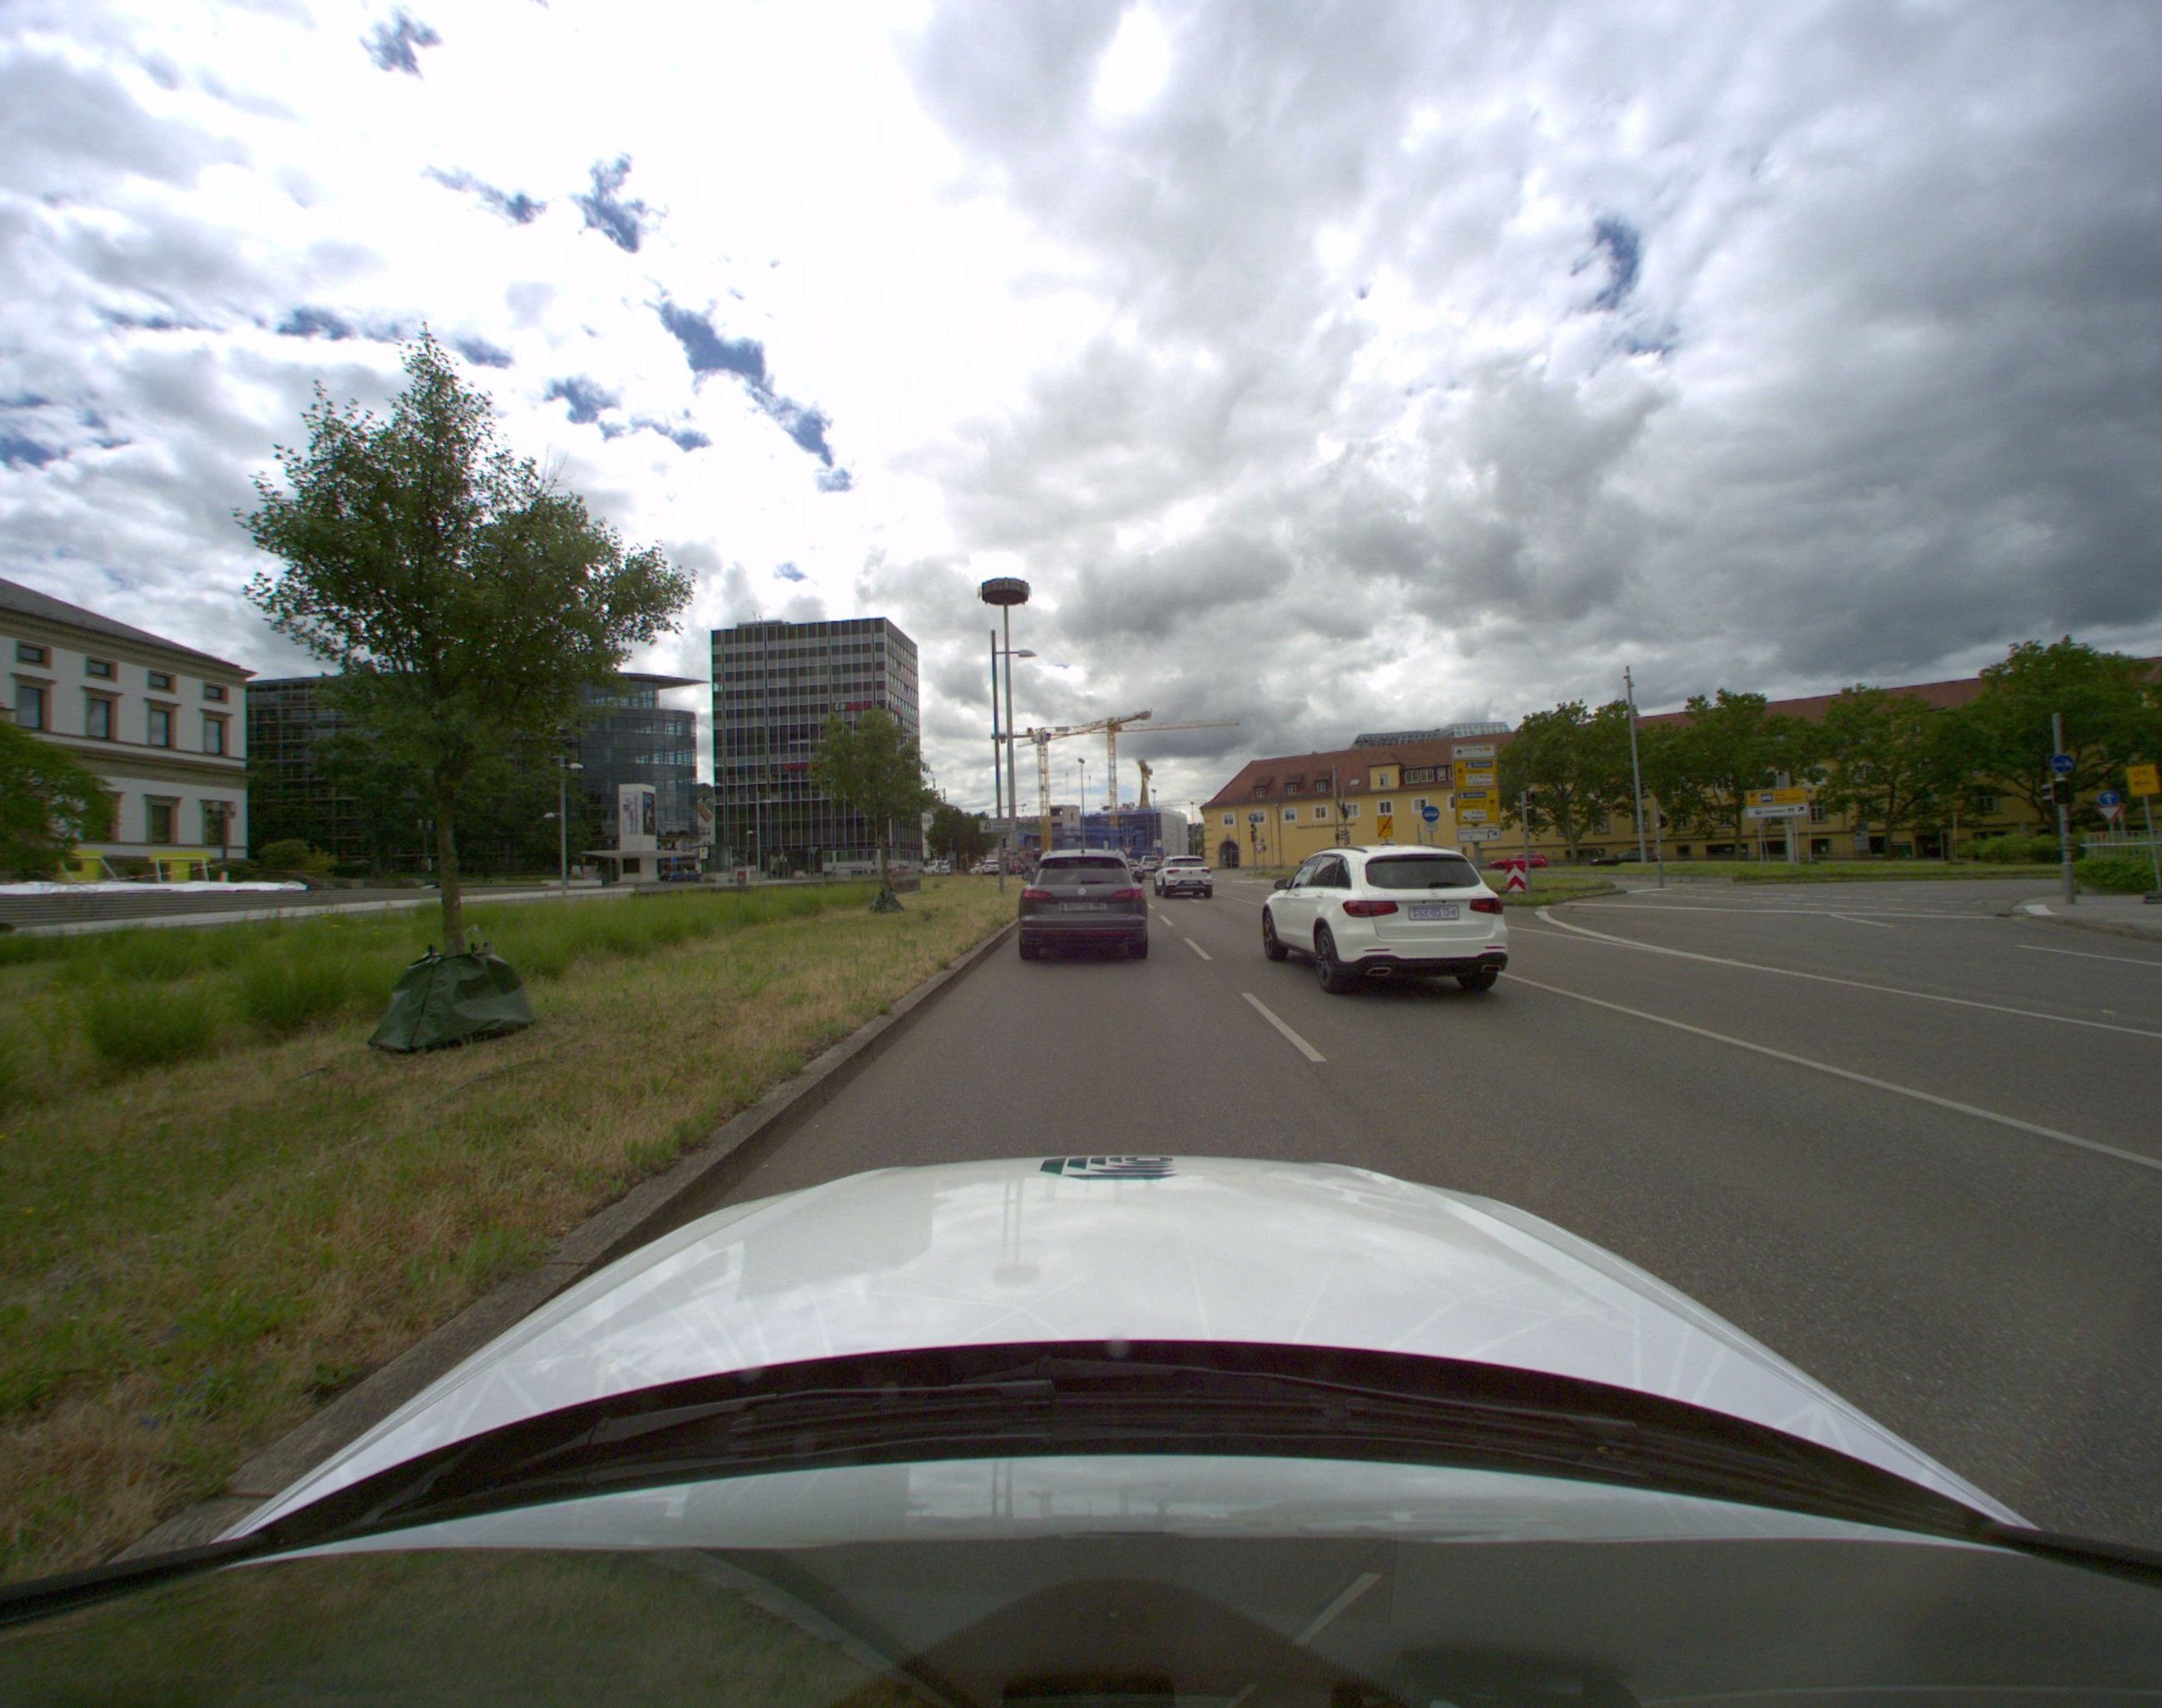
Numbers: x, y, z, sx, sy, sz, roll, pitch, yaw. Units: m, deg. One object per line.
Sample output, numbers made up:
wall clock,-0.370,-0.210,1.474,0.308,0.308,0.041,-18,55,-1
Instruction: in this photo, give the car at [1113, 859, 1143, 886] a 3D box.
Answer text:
car,2.808,1.069,49.050,1.712,1.502,4.146,-1,0,2

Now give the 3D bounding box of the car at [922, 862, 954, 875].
car,-17.720,1.804,100.935,2.261,1.502,4.562,-1,0,-35

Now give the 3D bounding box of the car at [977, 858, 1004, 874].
car,-8.923,1.193,79.899,1.820,1.496,3.881,-1,0,-19

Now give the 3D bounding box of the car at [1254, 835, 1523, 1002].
car,3.568,0.641,10.403,1.813,1.647,4.379,-1,0,1

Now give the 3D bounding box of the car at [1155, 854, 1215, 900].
car,3.876,0.818,31.014,1.886,1.585,3.802,-1,0,1

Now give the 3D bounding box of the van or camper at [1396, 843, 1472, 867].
van or camper,31.705,0.077,73.296,5.946,2.014,2.032,-2,-1,37

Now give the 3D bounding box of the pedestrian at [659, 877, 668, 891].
pedestrian,-35.038,2.509,68.318,0.473,1.081,0.560,-1,-1,2

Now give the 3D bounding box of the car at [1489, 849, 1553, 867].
car,37.429,0.325,69.246,4.632,1.420,1.607,-2,-1,33

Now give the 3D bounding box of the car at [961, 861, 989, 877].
car,-13.069,1.858,100.343,1.907,1.610,3.961,-3,5,-32

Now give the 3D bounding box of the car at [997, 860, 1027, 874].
car,-7.269,1.333,85.921,1.651,1.396,3.560,-1,0,-32

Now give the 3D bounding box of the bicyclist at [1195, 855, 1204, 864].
bicyclist,14.417,0.679,99.083,0.921,1.159,0.724,-1,-1,-4

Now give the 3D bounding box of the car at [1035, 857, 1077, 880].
car,-1.641,0.905,52.143,1.796,1.356,4.049,-1,-1,-15

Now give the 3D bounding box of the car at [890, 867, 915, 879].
car,-24.067,2.527,109.631,1.733,1.502,3.934,-1,0,-39

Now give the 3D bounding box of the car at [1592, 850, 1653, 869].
car,43.444,0.436,65.392,4.037,1.413,1.670,-2,-1,33

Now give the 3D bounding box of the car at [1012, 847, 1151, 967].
car,0.059,0.741,13.497,1.926,1.647,4.001,-1,0,1

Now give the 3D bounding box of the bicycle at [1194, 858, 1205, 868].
bicycle,14.422,1.108,99.084,0.921,1.159,2.462,-1,0,-3

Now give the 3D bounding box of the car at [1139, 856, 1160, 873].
car,6.587,1.017,78.258,1.796,1.502,3.982,-1,0,1
